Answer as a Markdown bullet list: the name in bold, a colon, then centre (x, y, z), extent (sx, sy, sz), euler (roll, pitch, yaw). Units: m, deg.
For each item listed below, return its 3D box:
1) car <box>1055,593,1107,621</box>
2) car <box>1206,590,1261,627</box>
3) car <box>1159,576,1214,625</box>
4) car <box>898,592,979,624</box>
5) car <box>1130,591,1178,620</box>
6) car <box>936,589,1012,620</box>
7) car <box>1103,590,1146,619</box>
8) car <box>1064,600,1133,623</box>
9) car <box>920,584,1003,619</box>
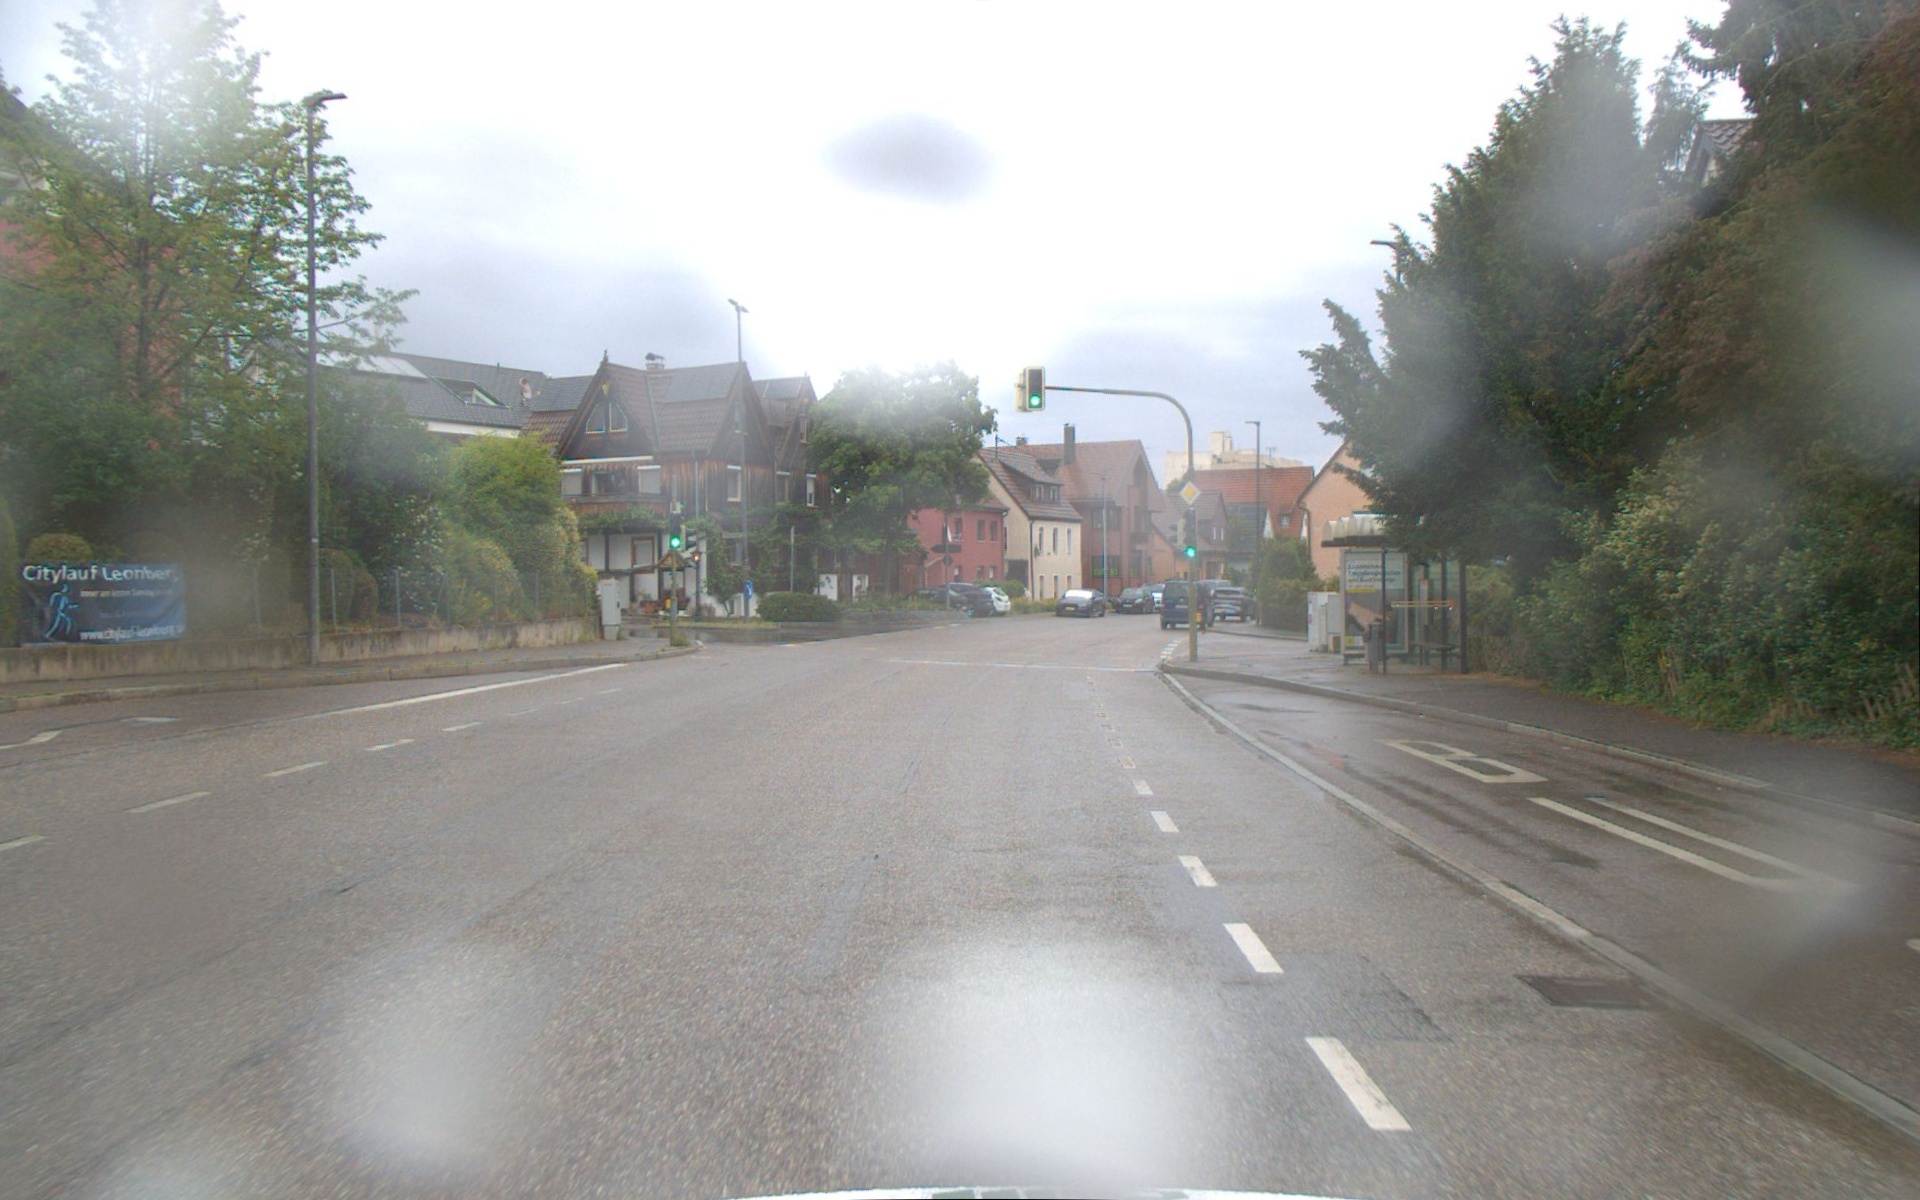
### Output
- **car**: centre (6.210, 0.341, 84.773), extent (1.593, 1.379, 4.112), euler (2, 1, 20)
- **car**: centre (13.900, 0.403, 83.840), extent (1.869, 1.747, 4.556), euler (2, 1, 21)
- **car**: centre (9.494, -0.001, 69.010), extent (1.889, 1.935, 4.797), euler (1, 0, 12)
- **car**: centre (-1.004, 0.368, 76.952), extent (3.376, 1.443, 1.632), euler (-1, 0, 23)
- **car**: centre (11.646, 0.314, 99.124), extent (1.728, 1.647, 4.656), euler (-1, 0, 21)
- **car**: centre (0.709, 0.227, 81.452), extent (3.391, 1.505, 1.590), euler (-1, 0, 23)
- **car**: centre (9.436, 0.269, 94.695), extent (1.572, 1.646, 3.276), euler (-1, 0, 21)
- **car**: centre (8.917, 0.755, 106.572), extent (4.092, 1.427, 1.786), euler (-1, 0, 28)
- **car**: centre (0.055, 0.057, 79.234), extent (3.505, 1.532, 1.854), euler (2, 1, 25)
